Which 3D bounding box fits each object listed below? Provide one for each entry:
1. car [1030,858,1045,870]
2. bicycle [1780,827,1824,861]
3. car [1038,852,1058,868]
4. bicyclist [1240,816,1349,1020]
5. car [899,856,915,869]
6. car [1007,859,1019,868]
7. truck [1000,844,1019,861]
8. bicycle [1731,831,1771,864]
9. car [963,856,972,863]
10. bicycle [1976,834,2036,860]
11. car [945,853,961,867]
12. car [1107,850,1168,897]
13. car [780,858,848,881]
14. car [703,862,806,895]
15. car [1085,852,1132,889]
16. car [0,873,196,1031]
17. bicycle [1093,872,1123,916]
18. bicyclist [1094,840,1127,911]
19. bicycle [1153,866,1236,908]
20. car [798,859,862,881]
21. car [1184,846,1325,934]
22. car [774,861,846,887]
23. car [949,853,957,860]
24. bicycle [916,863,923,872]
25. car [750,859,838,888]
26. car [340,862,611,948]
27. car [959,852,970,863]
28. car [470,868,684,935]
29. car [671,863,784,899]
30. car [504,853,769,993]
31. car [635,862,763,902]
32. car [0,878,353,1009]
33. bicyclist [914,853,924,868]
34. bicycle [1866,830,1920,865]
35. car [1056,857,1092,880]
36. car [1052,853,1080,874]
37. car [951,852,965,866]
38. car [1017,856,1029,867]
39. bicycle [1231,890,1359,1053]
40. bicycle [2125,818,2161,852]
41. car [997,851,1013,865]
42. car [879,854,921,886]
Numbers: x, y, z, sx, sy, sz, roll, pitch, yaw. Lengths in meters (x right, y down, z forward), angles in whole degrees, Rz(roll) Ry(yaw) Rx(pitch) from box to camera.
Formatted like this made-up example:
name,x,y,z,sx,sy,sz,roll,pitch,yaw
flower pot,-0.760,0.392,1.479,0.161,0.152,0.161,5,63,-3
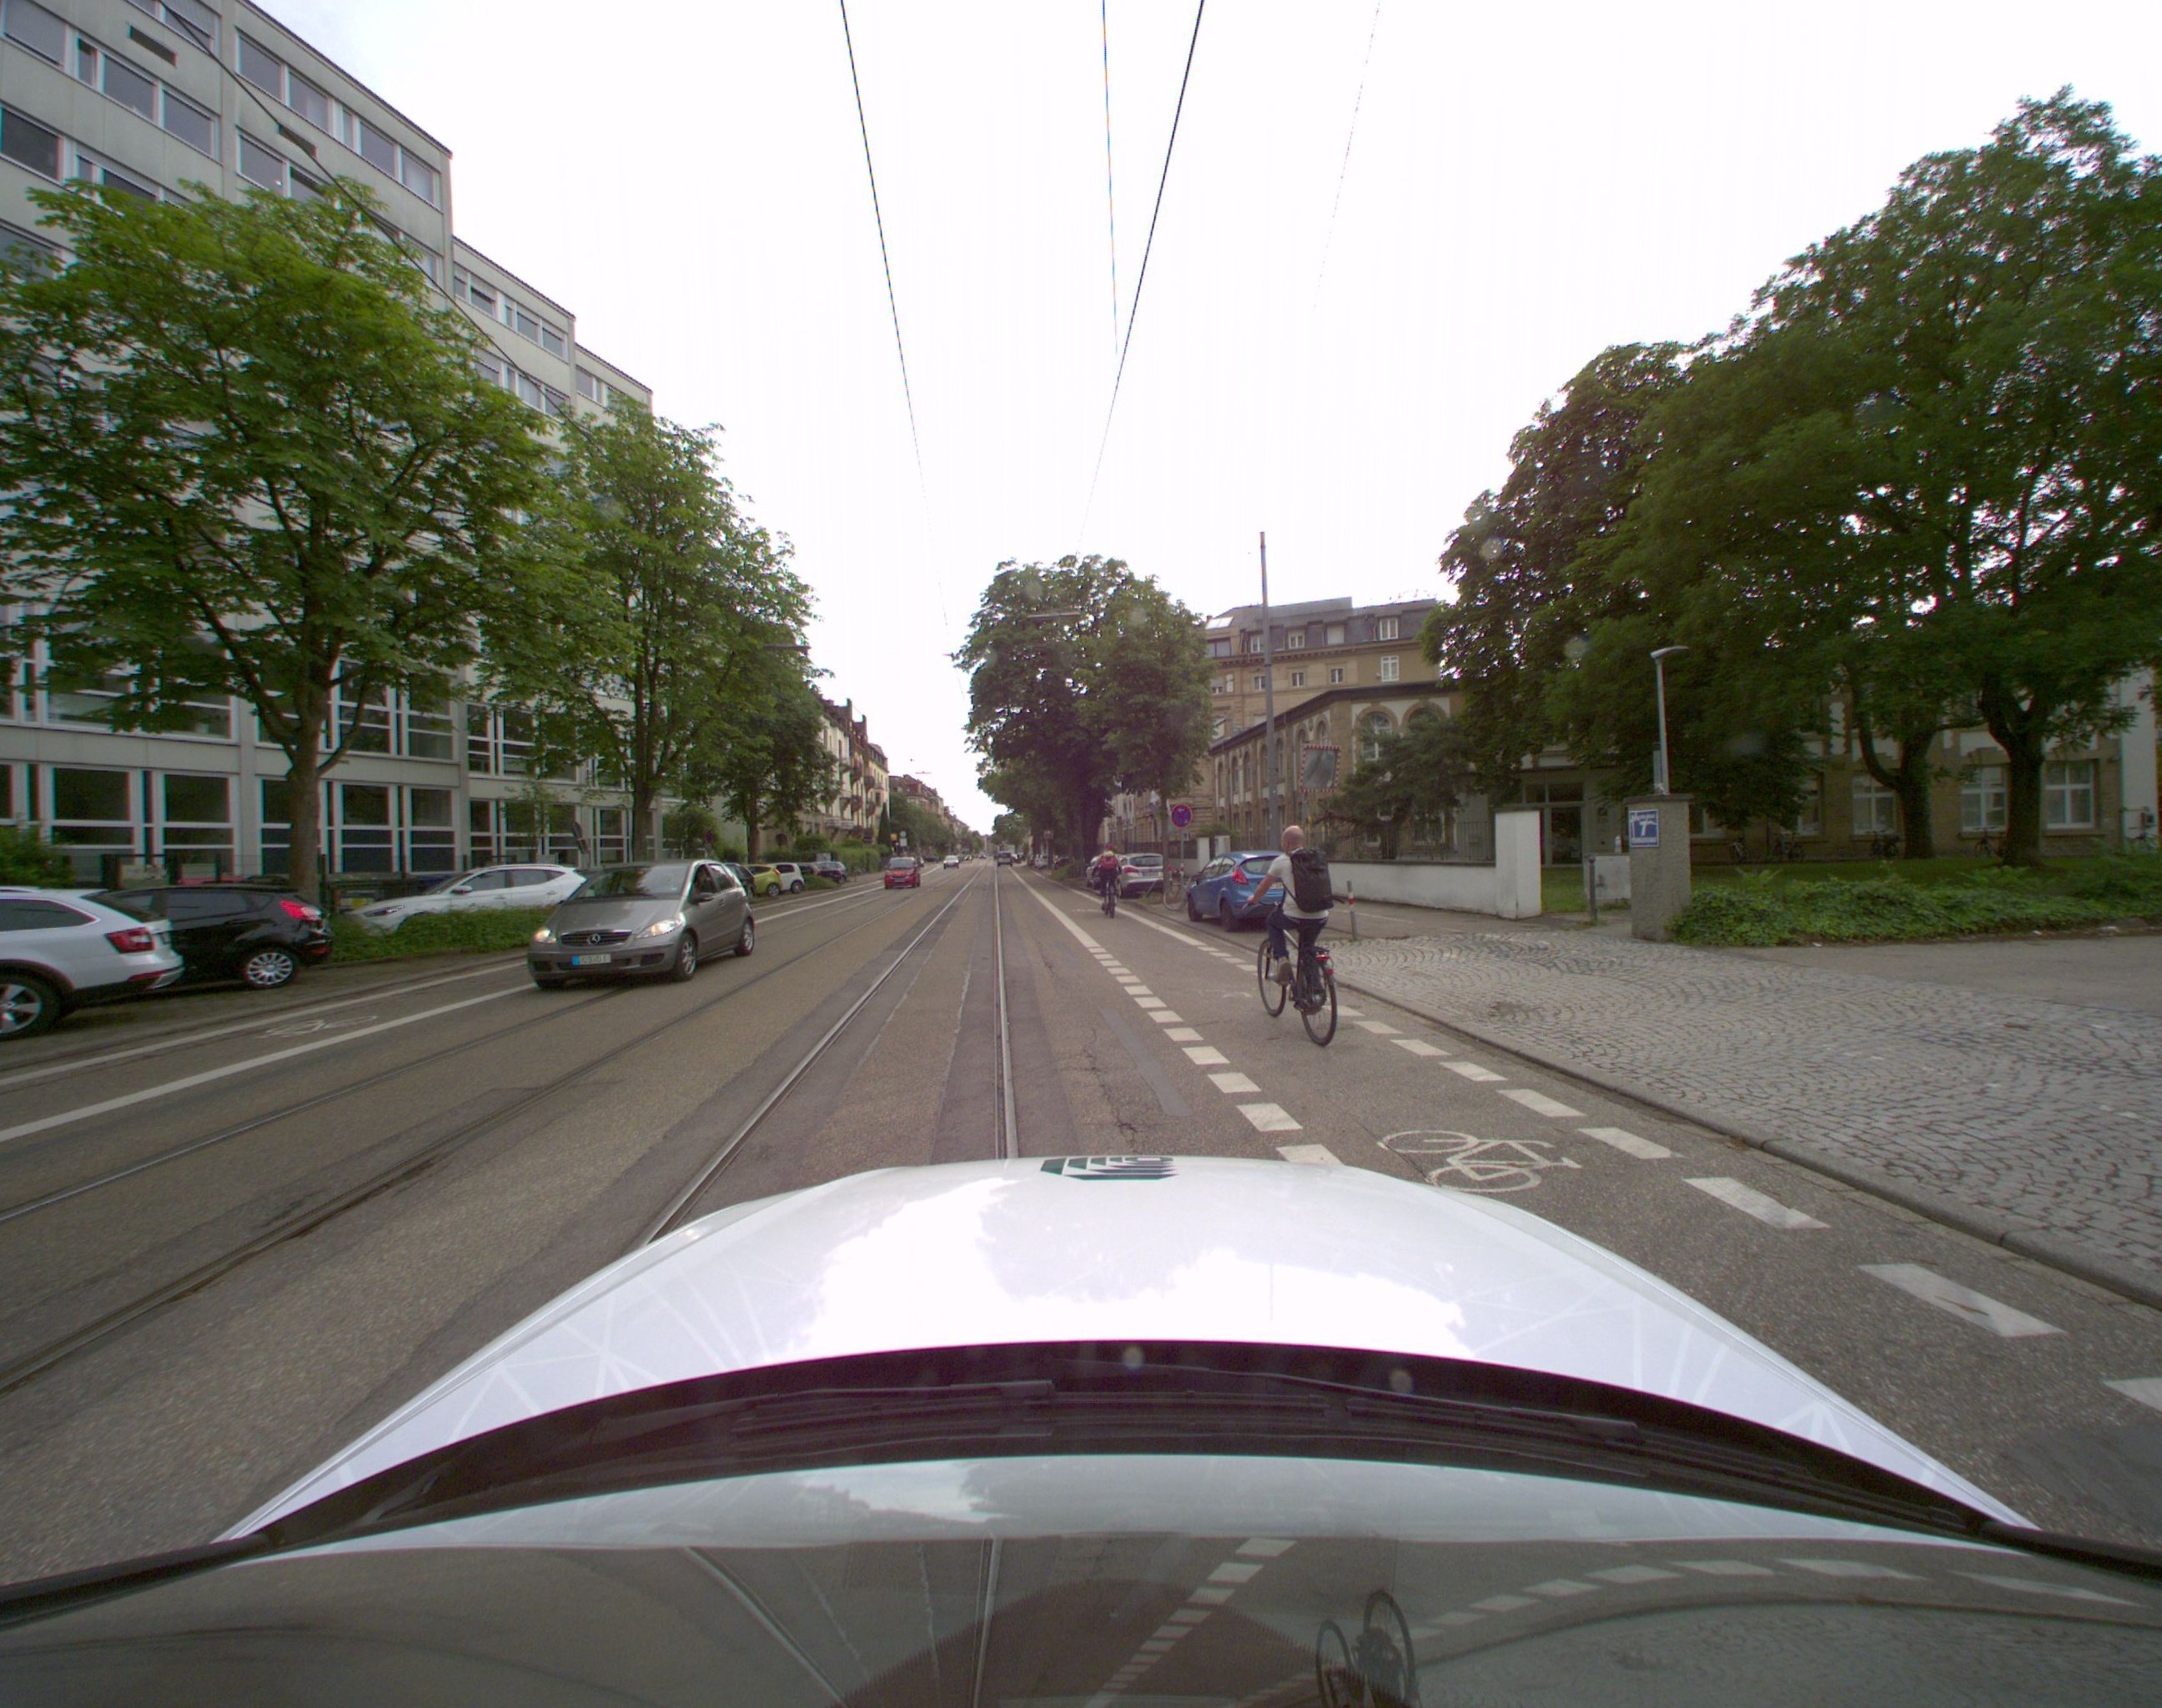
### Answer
name,x,y,z,sx,sy,sz,roll,pitch,yaw
car,-5.160,1.174,96.297,1.766,1.399,3.790,-2,0,-4
bicycle,25.019,-0.345,28.291,0.611,1.119,2.235,-2,0,27
car,-3.115,0.505,76.314,1.663,1.399,3.656,-2,0,-4
bicyclist,1.743,0.491,6.780,0.659,1.569,0.986,-1,0,2
car,-31.566,1.569,147.867,2.174,2.207,4.211,-2,0,-5
car,-10.653,1.465,128.473,1.766,1.399,3.790,-2,0,-4
truck,-17.779,-0.358,201.169,3.807,4.029,10.186,-2,0,-9
bicycle,23.761,-0.250,28.928,0.611,1.119,2.235,-2,0,27
car,-29.238,1.474,210.282,1.768,1.643,3.563,-2,0,-2
bicycle,30.059,-0.232,26.491,0.611,0.813,1.956,-2,0,27
car,-14.583,0.685,92.793,1.741,1.429,3.986,-2,0,-10
car,1.875,0.619,27.914,1.474,1.481,3.557,-1,0,-6
car,-16.472,0.936,50.329,3.731,1.386,1.683,0,0,-30
car,-14.681,1.047,36.782,1.678,1.351,3.993,0,0,39
car,1.126,0.667,35.016,1.474,1.428,3.557,-2,0,-6
car,-11.694,0.985,7.934,4.052,1.484,1.679,0,0,-44
bicycle,0.617,0.920,19.453,0.489,0.979,2.054,-1,-1,-4
bicyclist,0.690,0.495,19.308,0.657,1.610,0.918,-2,0,-5
bicycle,2.907,0.831,20.820,2.012,0.957,0.532,-2,0,-10
car,-16.476,1.016,53.439,3.731,1.386,1.683,0,0,-30
car,3.294,0.630,16.123,1.672,1.460,3.425,-3,0,-6
car,-15.818,1.155,47.507,3.731,1.386,1.683,0,0,-30
car,-36.484,0.756,231.957,1.816,2.067,3.876,-2,0,-2
bicycle,-16.219,1.368,81.731,0.468,0.869,2.134,-2,0,-5
car,-14.735,0.968,41.971,1.678,1.351,3.993,0,0,39
car,-12.840,0.974,17.553,1.678,1.556,4.374,0,0,35
car,-26.940,0.809,187.860,2.202,2.255,3.992,-2,0,-6
car,-12.819,1.131,20.973,1.678,1.454,4.374,0,0,39
car,-14.569,1.082,33.740,1.678,1.351,3.993,0,0,39
car,-5.915,0.797,11.436,1.898,1.530,3.746,-3,0,-6
car,-14.206,0.993,30.468,1.678,1.351,3.993,0,0,39
car,-12.268,1.077,10.642,4.052,1.405,1.679,0,0,-44
bicyclist,-16.295,0.672,81.809,0.842,1.500,1.025,-2,0,-5
bicycle,27.371,-0.216,27.490,0.611,1.119,2.235,-2,0,27
car,-0.459,0.820,49.037,1.869,1.251,3.995,-2,0,-4
car,-1.112,0.645,57.426,1.788,1.399,3.790,-2,0,-4
car,-21.763,0.923,143.973,2.204,2.417,3.989,-2,0,-8
car,-11.556,1.517,162.170,1.992,2.013,3.989,-2,0,-8
bicycle,1.766,0.917,6.995,0.661,1.117,1.867,0,0,2
bicycle,33.378,-0.590,25.181,0.391,1.065,1.837,-1,0,19
car,-9.407,0.462,101.465,1.808,1.708,3.694,-1,0,-3
car,-8.892,0.771,40.250,1.674,1.522,2.776,-1,0,-5
